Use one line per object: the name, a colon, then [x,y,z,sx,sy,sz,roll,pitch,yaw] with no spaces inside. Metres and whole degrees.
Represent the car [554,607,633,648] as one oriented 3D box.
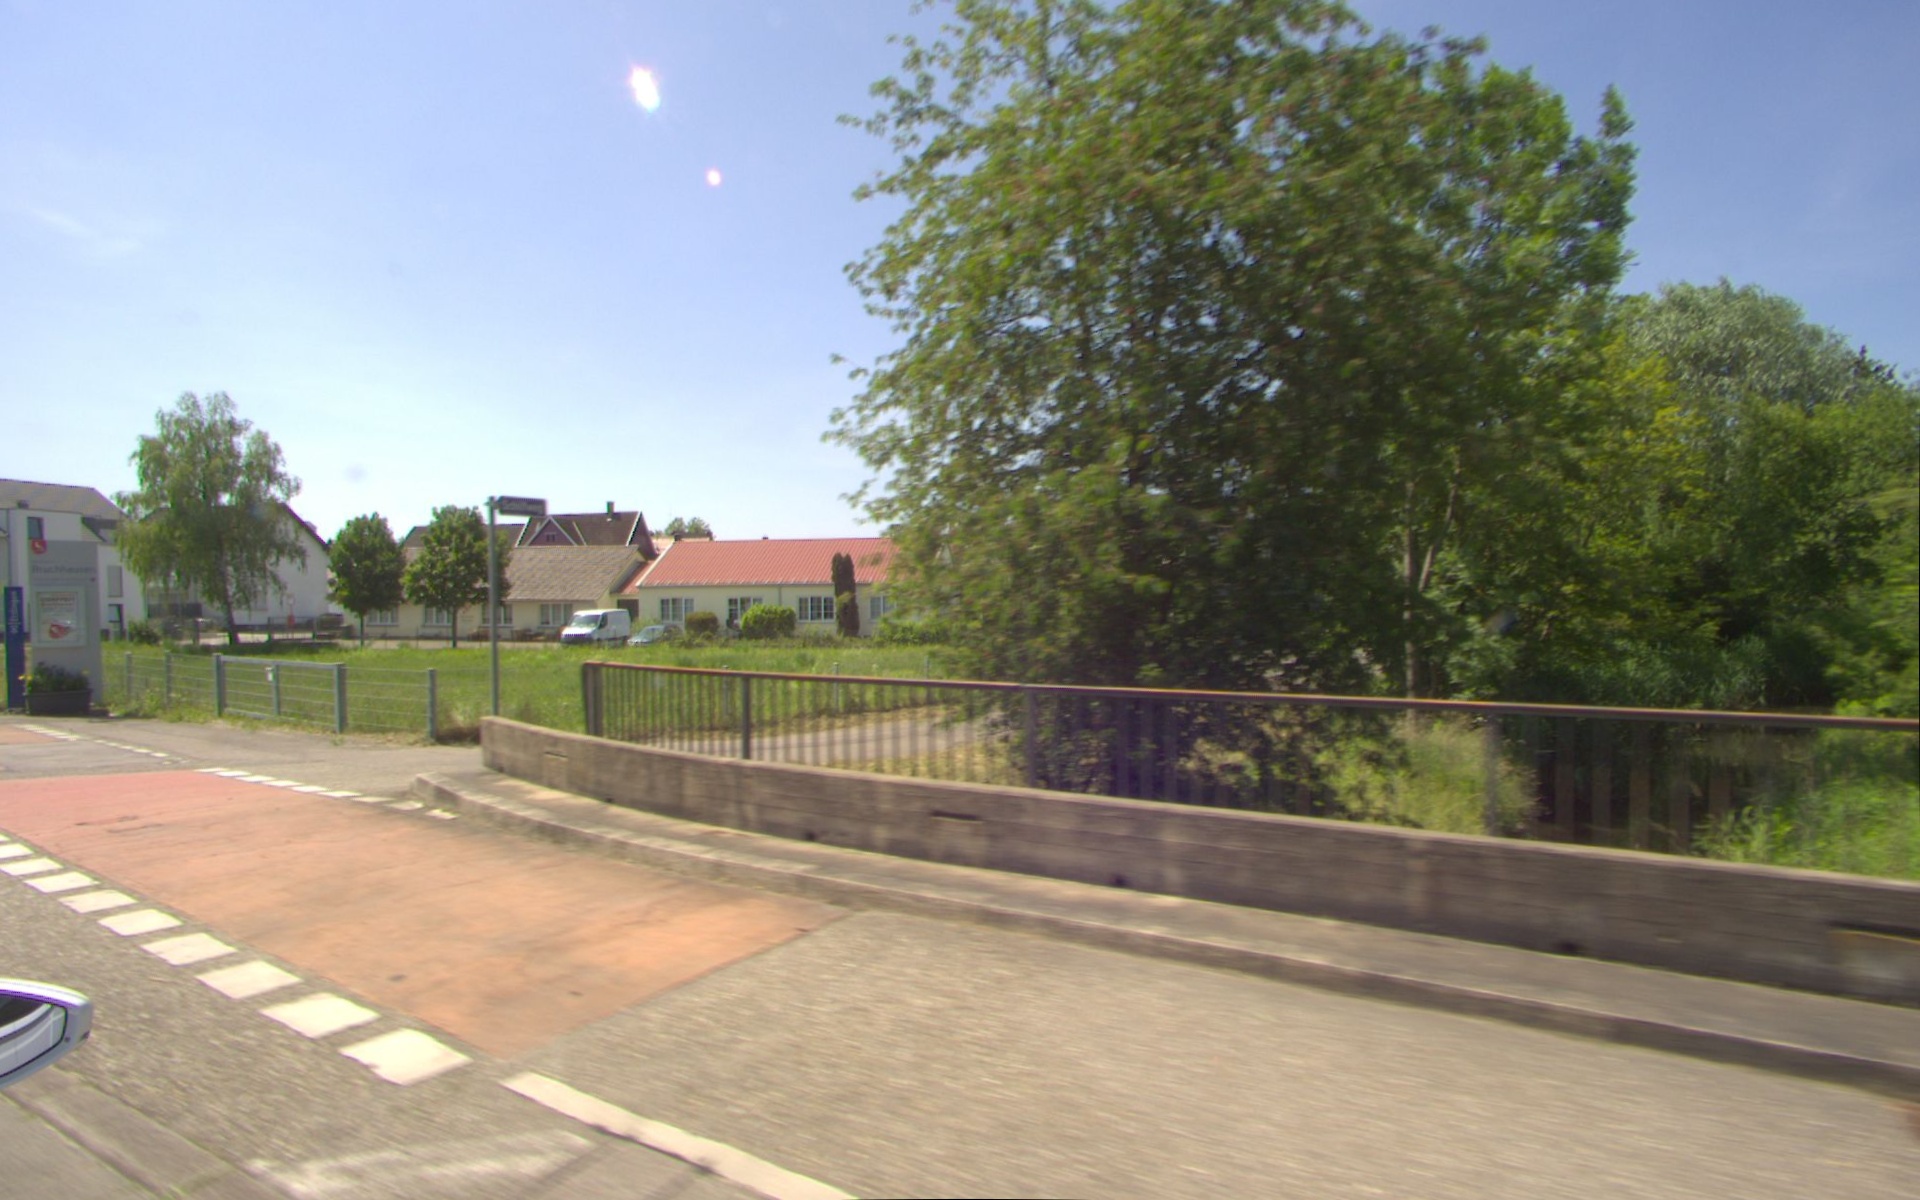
car: [-20.836,1.592,57.209,2.172,2.229,5.186,0,-2,6]
